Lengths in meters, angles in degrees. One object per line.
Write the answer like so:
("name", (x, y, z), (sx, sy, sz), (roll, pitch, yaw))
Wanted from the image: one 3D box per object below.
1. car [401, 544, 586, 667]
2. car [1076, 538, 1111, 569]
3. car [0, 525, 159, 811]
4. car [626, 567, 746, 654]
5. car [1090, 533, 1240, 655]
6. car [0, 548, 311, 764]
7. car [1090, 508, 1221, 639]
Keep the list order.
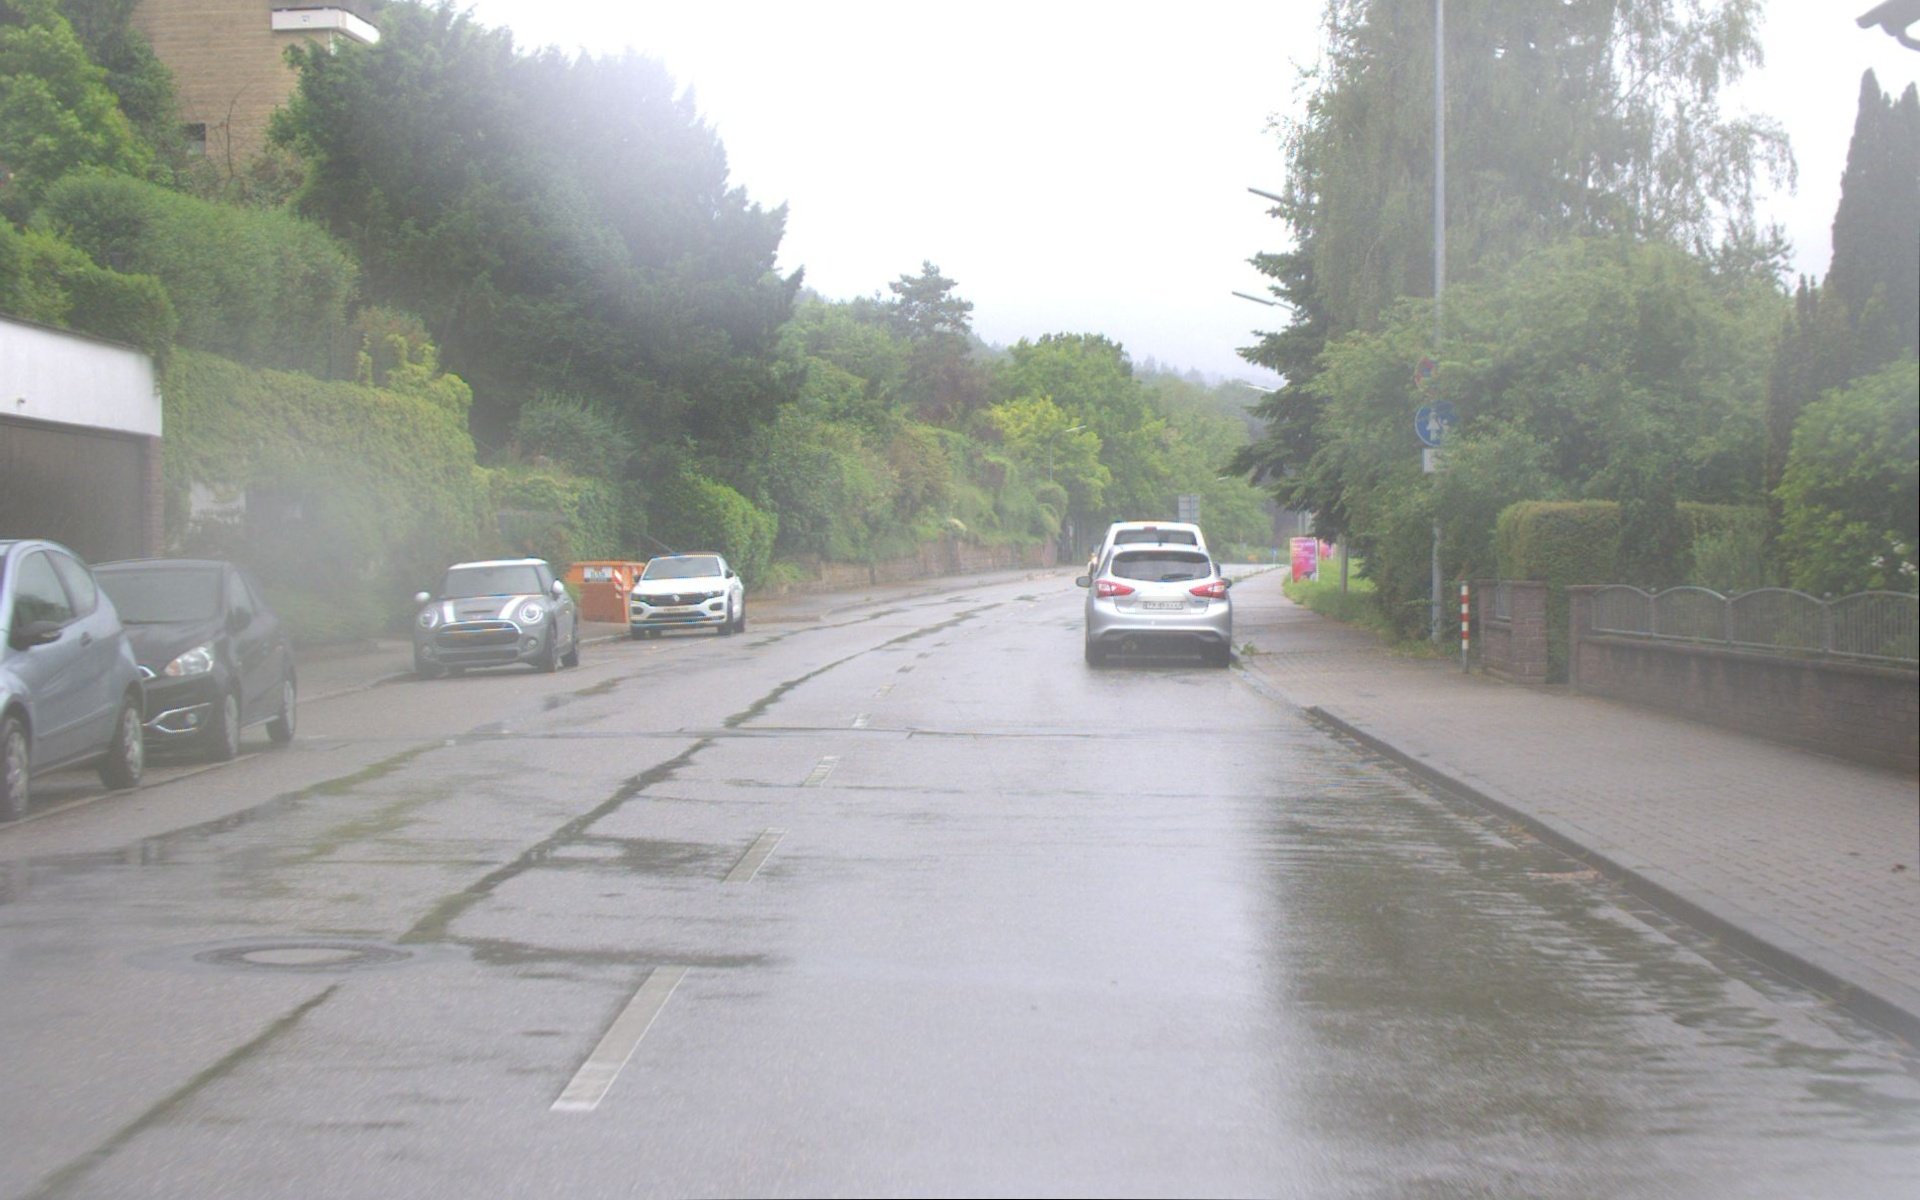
("car", (-5.794, 0.051, 43.091), (1.756, 1.398, 3.770), (-3, 1, 0))
("car", (6.616, -2.298, 170.189), (1.662, 1.456, 3.662), (0, 0, 1))
("car", (-6.065, 0.379, 20.277), (1.756, 1.534, 3.757), (-3, 1, 0))
("car", (-4.906, 0.175, 62.073), (1.756, 1.492, 4.220), (-1, 0, 1))
("car", (2.589, -0.086, 43.547), (1.789, 1.455, 4.308), (0, 0, 3))
("car", (-6.086, 0.369, 25.600), (1.756, 1.404, 3.705), (-3, 1, 0))
("car", (2.800, -0.374, 49.290), (1.785, 1.784, 4.360), (0, 0, 3))
